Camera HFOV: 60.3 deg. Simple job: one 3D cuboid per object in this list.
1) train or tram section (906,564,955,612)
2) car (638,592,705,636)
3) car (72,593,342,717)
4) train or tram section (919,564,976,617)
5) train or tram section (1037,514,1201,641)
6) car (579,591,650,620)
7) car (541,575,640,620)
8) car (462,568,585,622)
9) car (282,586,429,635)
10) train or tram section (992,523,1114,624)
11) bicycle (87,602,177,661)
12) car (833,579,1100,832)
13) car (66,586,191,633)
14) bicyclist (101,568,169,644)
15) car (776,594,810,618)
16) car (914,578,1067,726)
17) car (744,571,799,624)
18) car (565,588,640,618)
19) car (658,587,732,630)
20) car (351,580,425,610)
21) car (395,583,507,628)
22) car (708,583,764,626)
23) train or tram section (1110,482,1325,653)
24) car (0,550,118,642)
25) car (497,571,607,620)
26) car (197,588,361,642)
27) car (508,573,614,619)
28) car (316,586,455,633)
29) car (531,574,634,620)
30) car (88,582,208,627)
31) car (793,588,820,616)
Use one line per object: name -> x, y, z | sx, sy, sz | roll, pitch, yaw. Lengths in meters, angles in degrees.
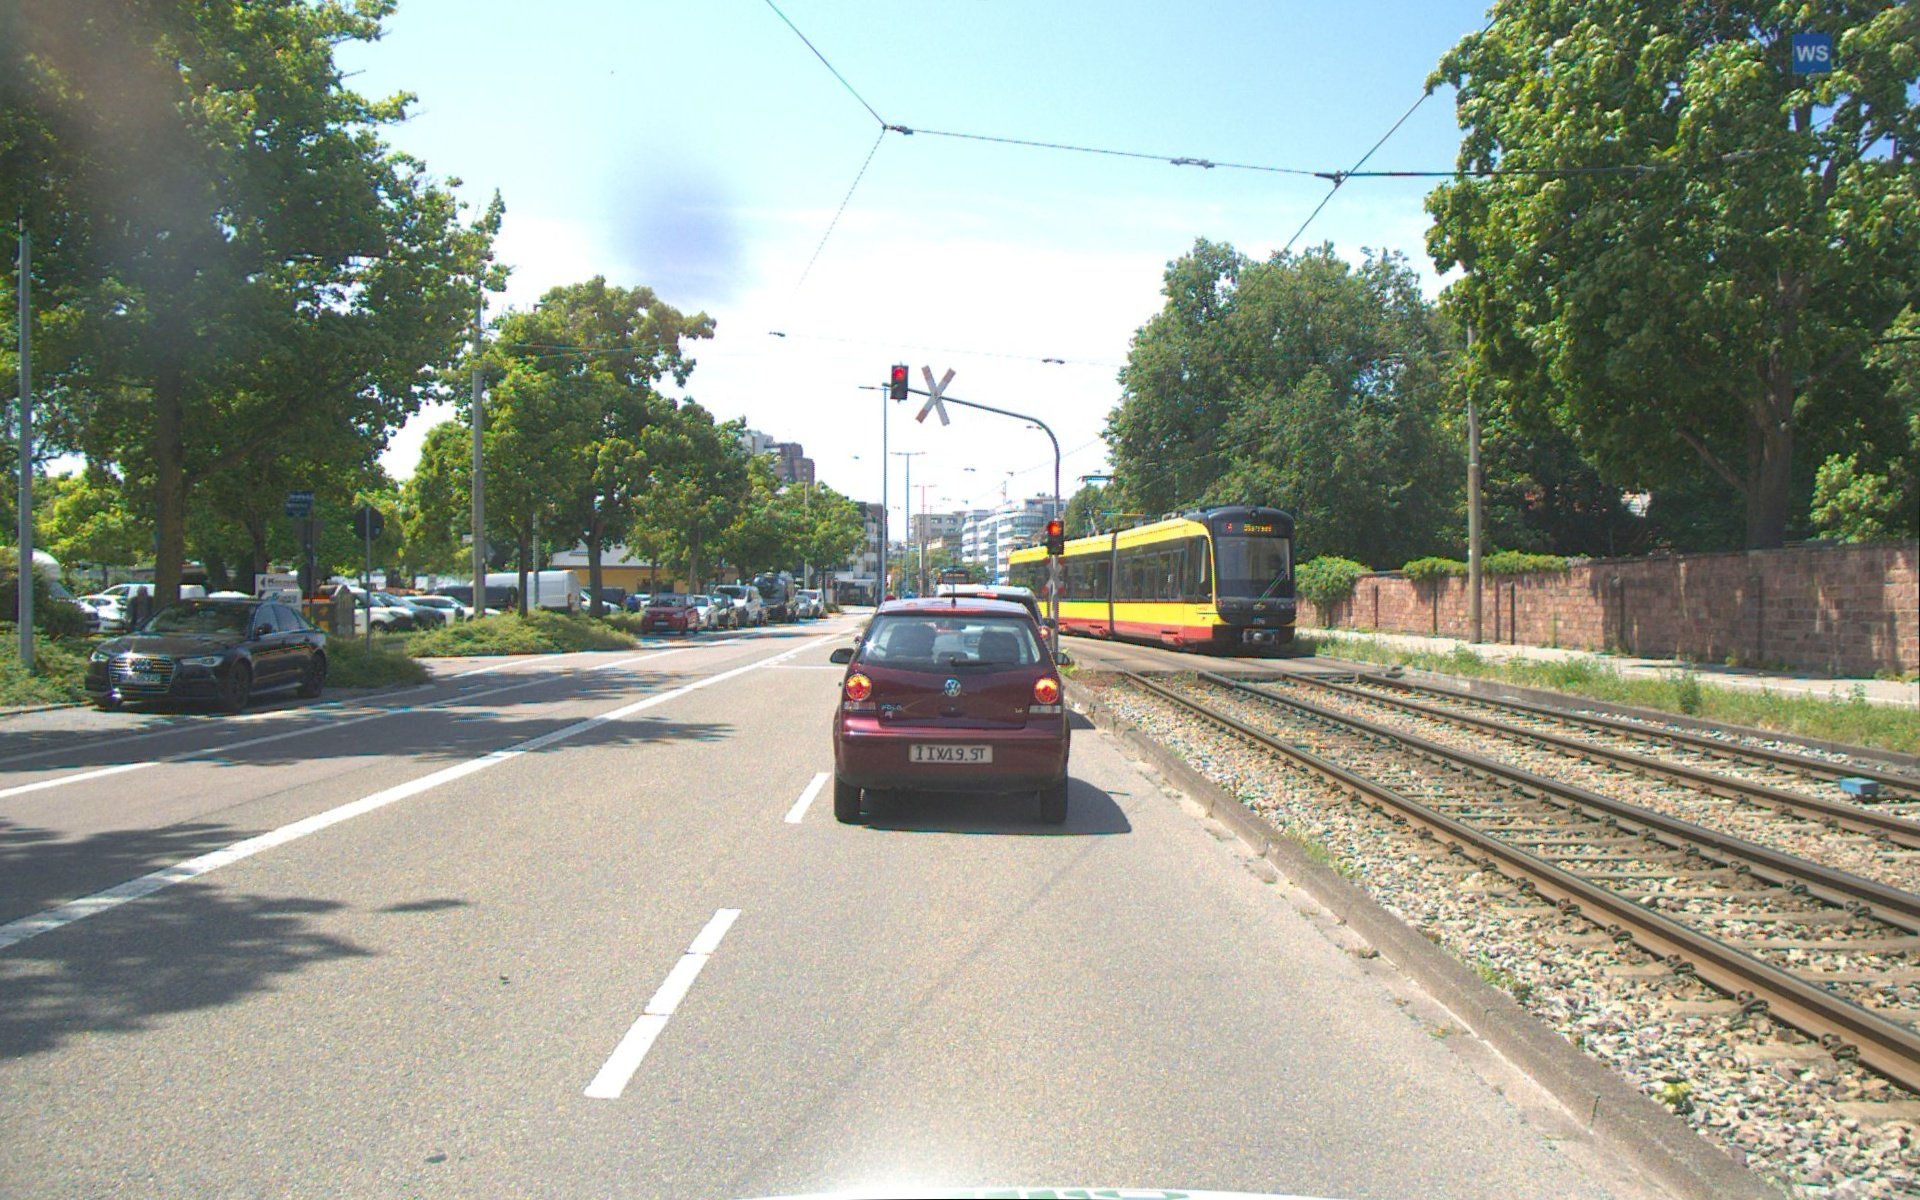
train or tram section -> -2.522, -1.016, 135.953 | 2.689, 3.672, 10.932 | 2, 0, -7
car -> -10.580, 0.527, 60.946 | 1.628, 1.523, 4.000 | 2, -1, 1
car -> -10.379, 0.693, 23.198 | 1.782, 1.502, 4.448 | 2, 0, -1
train or tram section -> -1.034, -0.774, 124.607 | 2.689, 3.672, 12.849 | 2, 0, -7
train or tram section -> 5.152, -0.737, 56.875 | 2.970, 3.864, 13.071 | 0, 0, -7
car -> -21.127, 0.333, 101.218 | 3.938, 1.645, 1.816 | 2, -1, 0
car -> -20.892, -0.133, 93.718 | 4.993, 2.283, 2.378 | 2, -1, 0
car -> -20.373, -0.225, 77.340 | 4.993, 2.283, 2.378 | 2, -1, 0
car -> -20.483, 0.344, 56.164 | 4.251, 1.612, 1.914 | 0, 0, 5
train or tram section -> 3.696, -1.053, 69.540 | 2.970, 3.864, 12.741 | 0, 0, -7
bicycle -> -15.626, 0.587, 31.263 | 0.686, 1.047, 1.829 | 2, -1, 2
car -> -0.003, 0.655, 12.415 | 1.638, 1.548, 3.999 | 2, 0, -1
car -> -32.491, 0.384, 64.696 | 3.913, 1.682, 1.812 | 2, -1, -9
bicyclist -> -15.617, 0.121, 31.326 | 0.792, 1.398, 0.828 | 2, -1, 2
car -> -10.869, 0.400, 107.934 | 1.581, 1.466, 4.001 | 2, -1, 3
car -> 0.310, 0.595, 21.340 | 1.741, 1.676, 3.999 | 2, 0, -2
car -> -10.310, -0.133, 90.784 | 2.313, 2.739, 5.307 | 2, -1, 0
car -> -21.194, 0.180, 98.139 | 3.938, 1.645, 1.816 | 2, -1, 0
car -> -10.767, 0.370, 67.493 | 1.934, 1.629, 4.560 | 2, -1, 4
car -> -35.317, -0.292, 102.183 | 3.939, 1.645, 1.816 | 2, -1, -2
car -> -20.541, 0.217, 66.908 | 3.906, 1.776, 1.998 | 0, 0, -2
car -> -10.468, 0.235, 77.737 | 1.746, 1.914, 4.787 | 2, -1, 2
train or tram section -> 6.426, -0.777, 43.952 | 2.968, 3.864, 13.081 | 0, 0, -3
car -> -33.143, -0.206, 57.133 | 6.714, 3.017, 2.363 | 2, -1, -2
car -> -21.025, -0.215, 85.483 | 4.993, 2.283, 2.378 | 2, -1, 0
car -> -20.980, 0.436, 51.059 | 4.256, 1.612, 1.912 | 0, 0, -3
car -> -21.363, -0.198, 88.671 | 4.993, 2.283, 2.378 | 2, -1, 0
car -> -20.408, 0.326, 58.877 | 4.251, 1.612, 1.914 | 0, 0, 5
car -> -20.772, -0.152, 91.144 | 4.993, 2.283, 2.378 | 2, -1, 0
car -> -32.910, 0.191, 67.094 | 3.913, 1.682, 1.812 | 2, -1, -9
car -> -10.571, 0.150, 114.061 | 1.741, 1.860, 3.995 | 2, -1, -6
